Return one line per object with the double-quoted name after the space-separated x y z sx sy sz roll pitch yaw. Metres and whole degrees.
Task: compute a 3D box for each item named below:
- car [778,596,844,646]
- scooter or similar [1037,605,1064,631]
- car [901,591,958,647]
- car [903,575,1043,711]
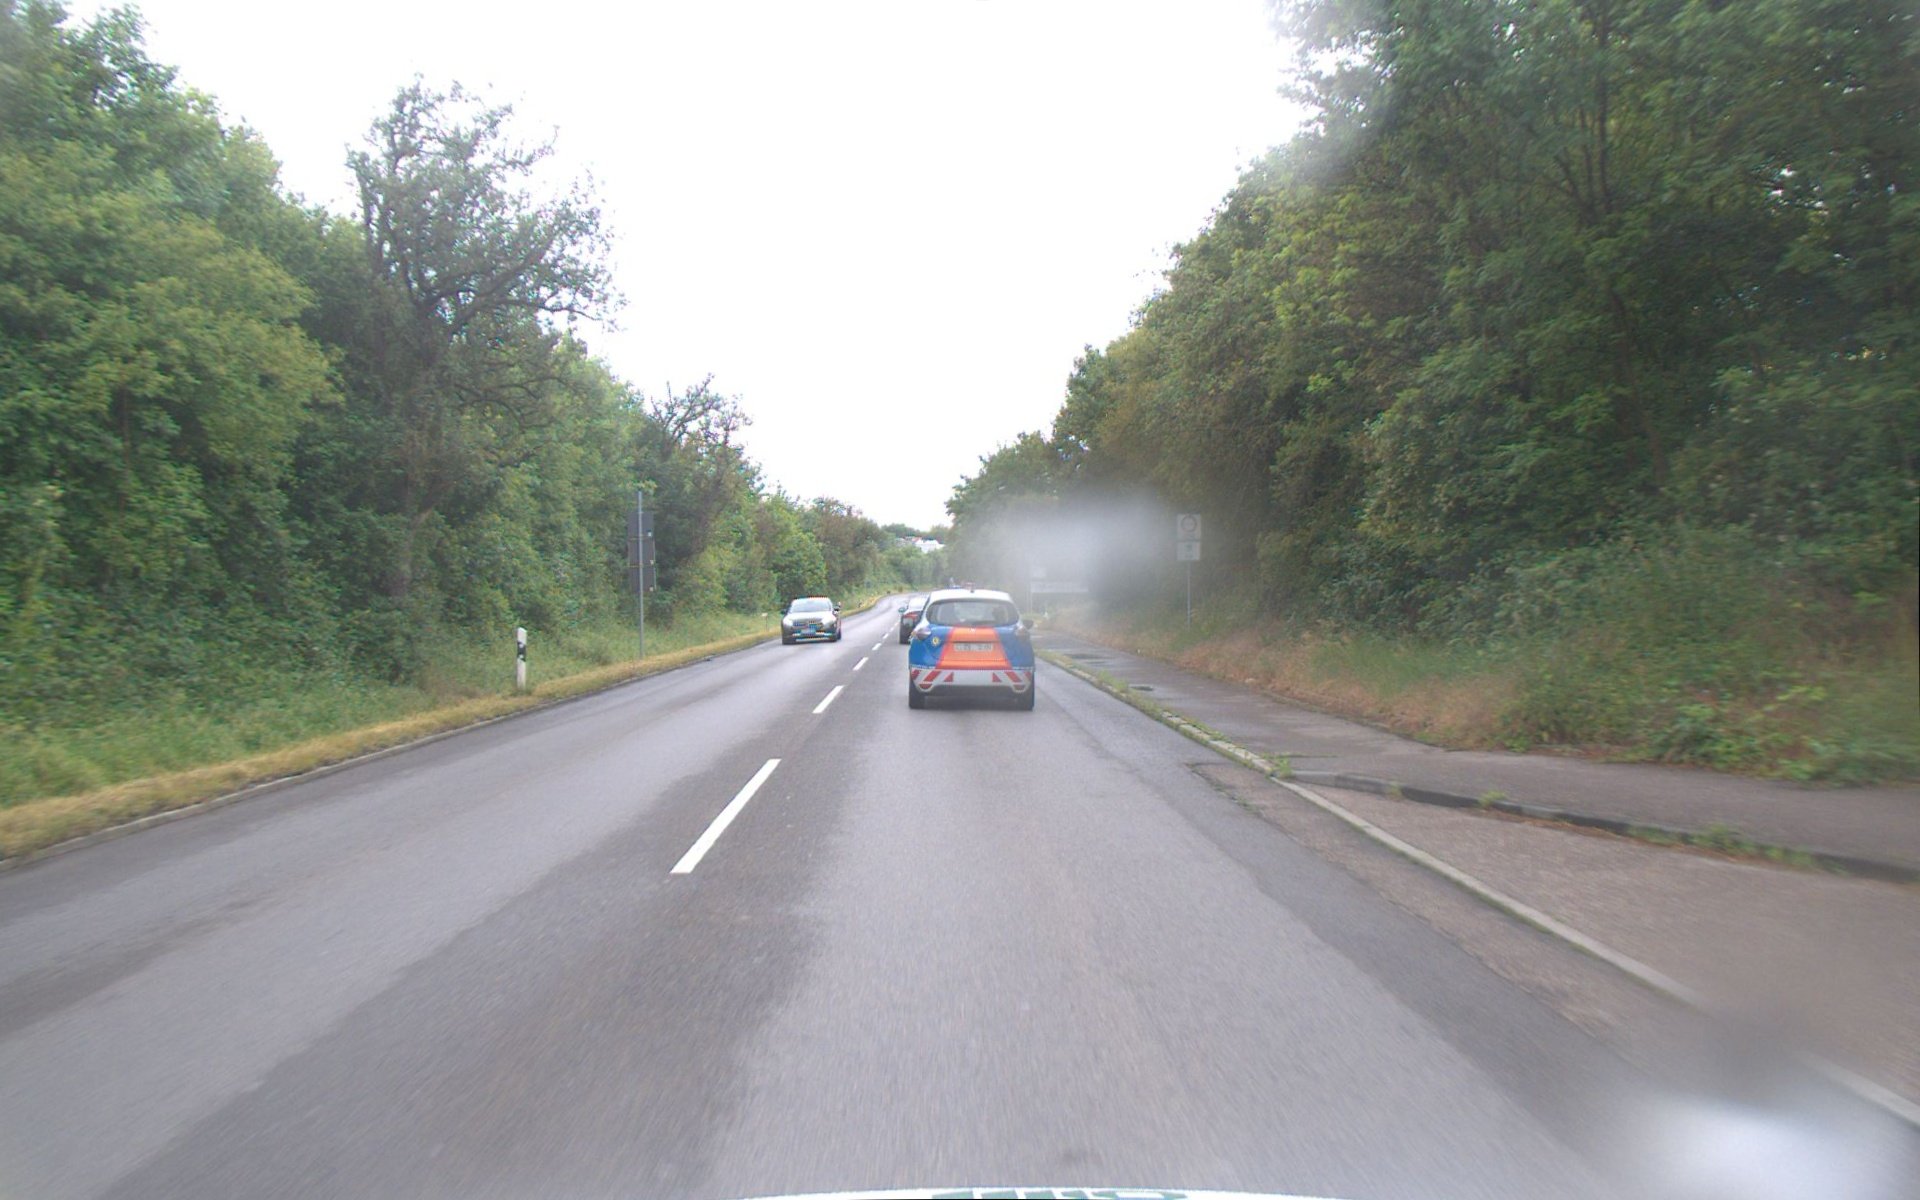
-5.016 0.691 56.184 1.833 1.515 4.572 -3 0 -2 "car"
4.442 0.886 81.224 1.302 1.227 0.372 -1 -1 40 "scooter or similar"
-0.990 0.585 51.828 1.660 1.623 3.854 2 0 -2 "car"
0.117 0.559 23.177 1.769 1.697 3.854 2 0 -2 "car"
